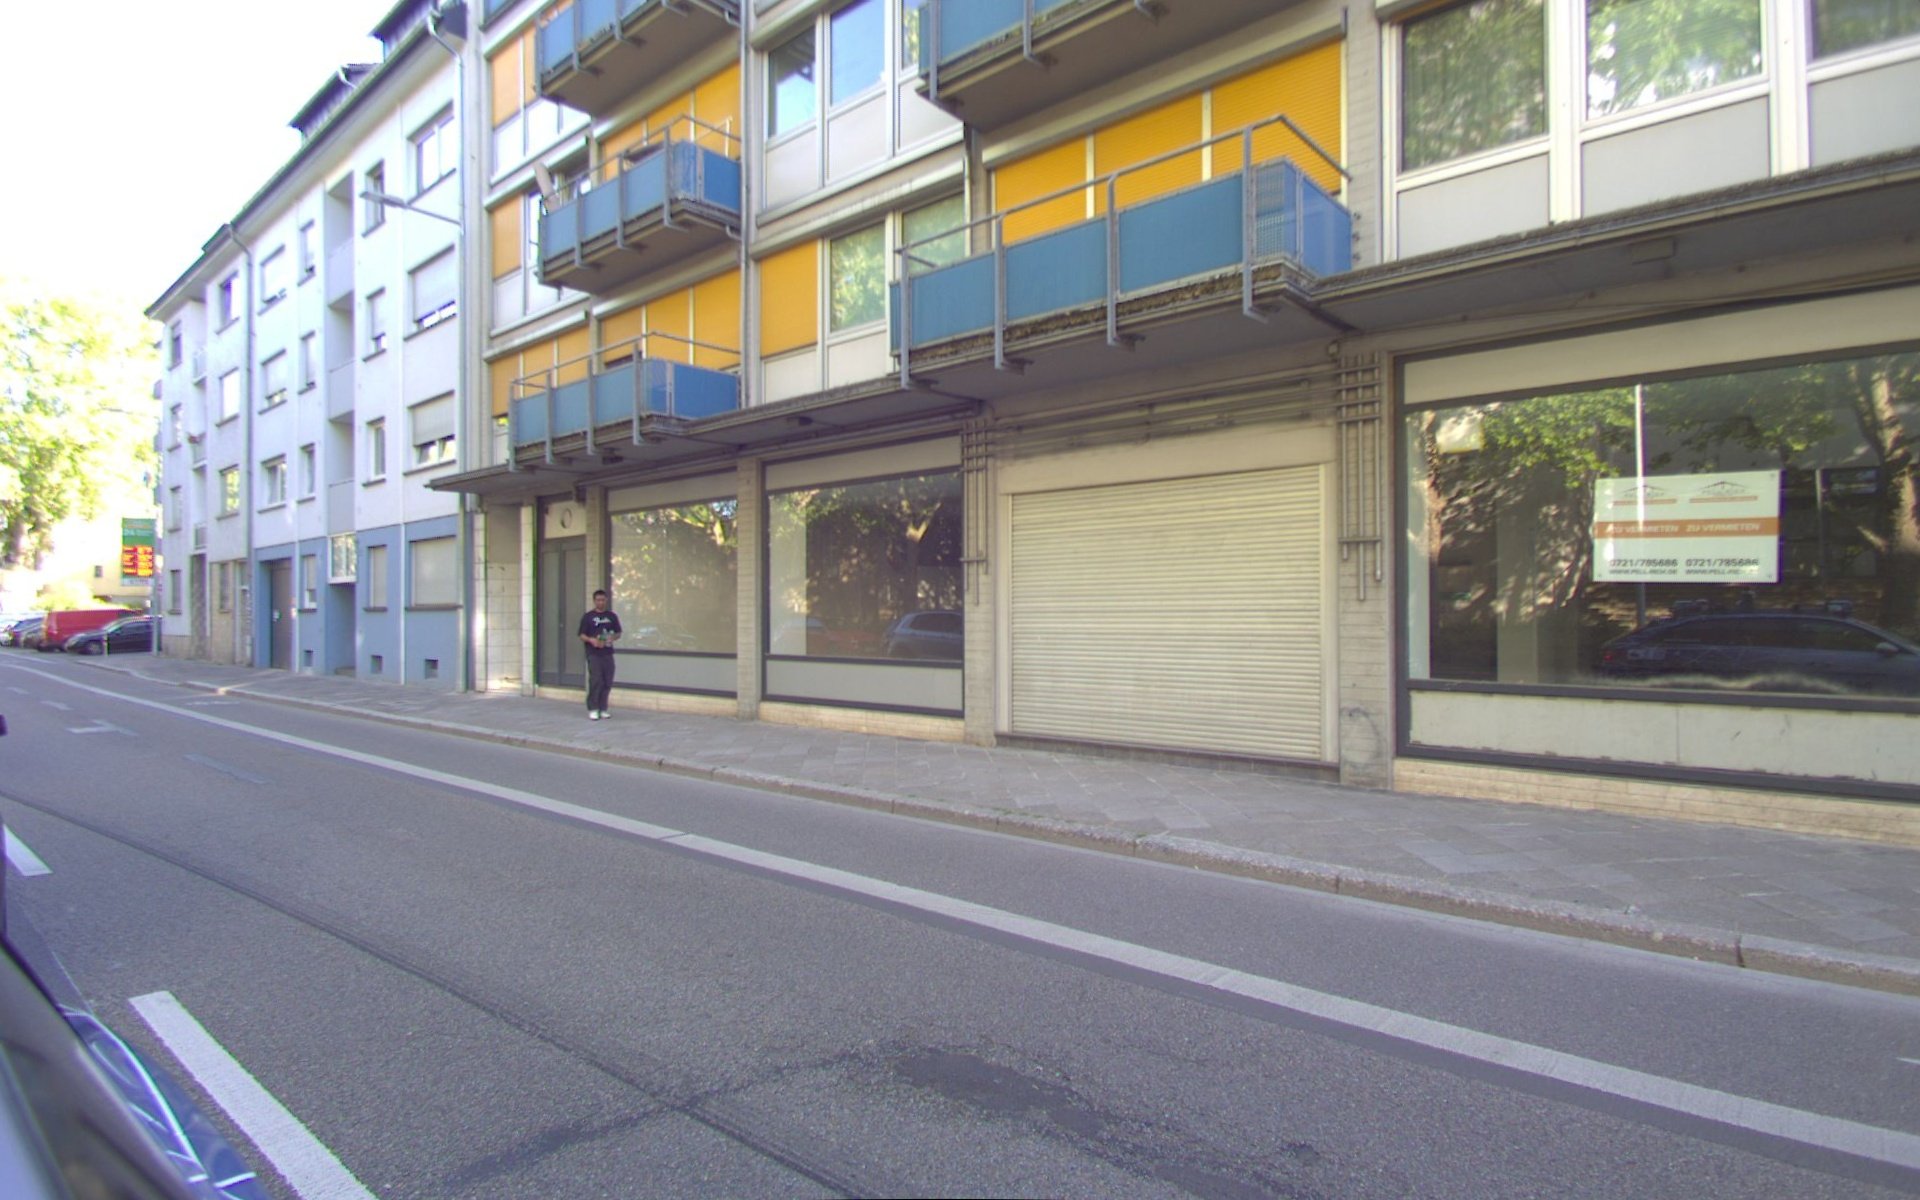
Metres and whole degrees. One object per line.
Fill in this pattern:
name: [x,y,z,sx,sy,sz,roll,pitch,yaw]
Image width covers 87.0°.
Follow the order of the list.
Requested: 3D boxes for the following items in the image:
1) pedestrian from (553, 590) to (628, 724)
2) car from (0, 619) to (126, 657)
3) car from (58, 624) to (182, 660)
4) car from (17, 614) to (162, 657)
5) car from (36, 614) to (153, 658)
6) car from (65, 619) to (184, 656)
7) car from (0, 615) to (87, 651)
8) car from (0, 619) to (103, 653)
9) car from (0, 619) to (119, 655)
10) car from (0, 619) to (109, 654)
pedestrian: [-5.097,0.759,13.955,0.793,1.785,0.655,-1,-1,41]
car: [-50.295,2.088,56.838,2.186,1.952,5.077,-1,-1,41]
car: [-36.550,1.789,44.084,1.742,1.431,3.946,-1,-1,41]
car: [-42.688,1.703,49.721,2.256,1.995,5.156,-1,-1,41]
car: [-40.587,1.635,47.524,1.866,1.952,3.946,-1,-1,41]
car: [-37.875,1.680,45.950,1.742,1.572,3.946,-1,-1,41]
car: [-59.342,2.100,64.720,2.186,2.164,5.077,-1,-1,41]
car: [-55.968,2.160,61.994,2.314,1.952,4.978,-1,-1,41]
car: [-52.234,2.111,58.726,2.159,1.952,4.990,-1,-1,41]
car: [-54.120,2.133,60.363,2.082,1.952,4.928,-1,-1,41]
